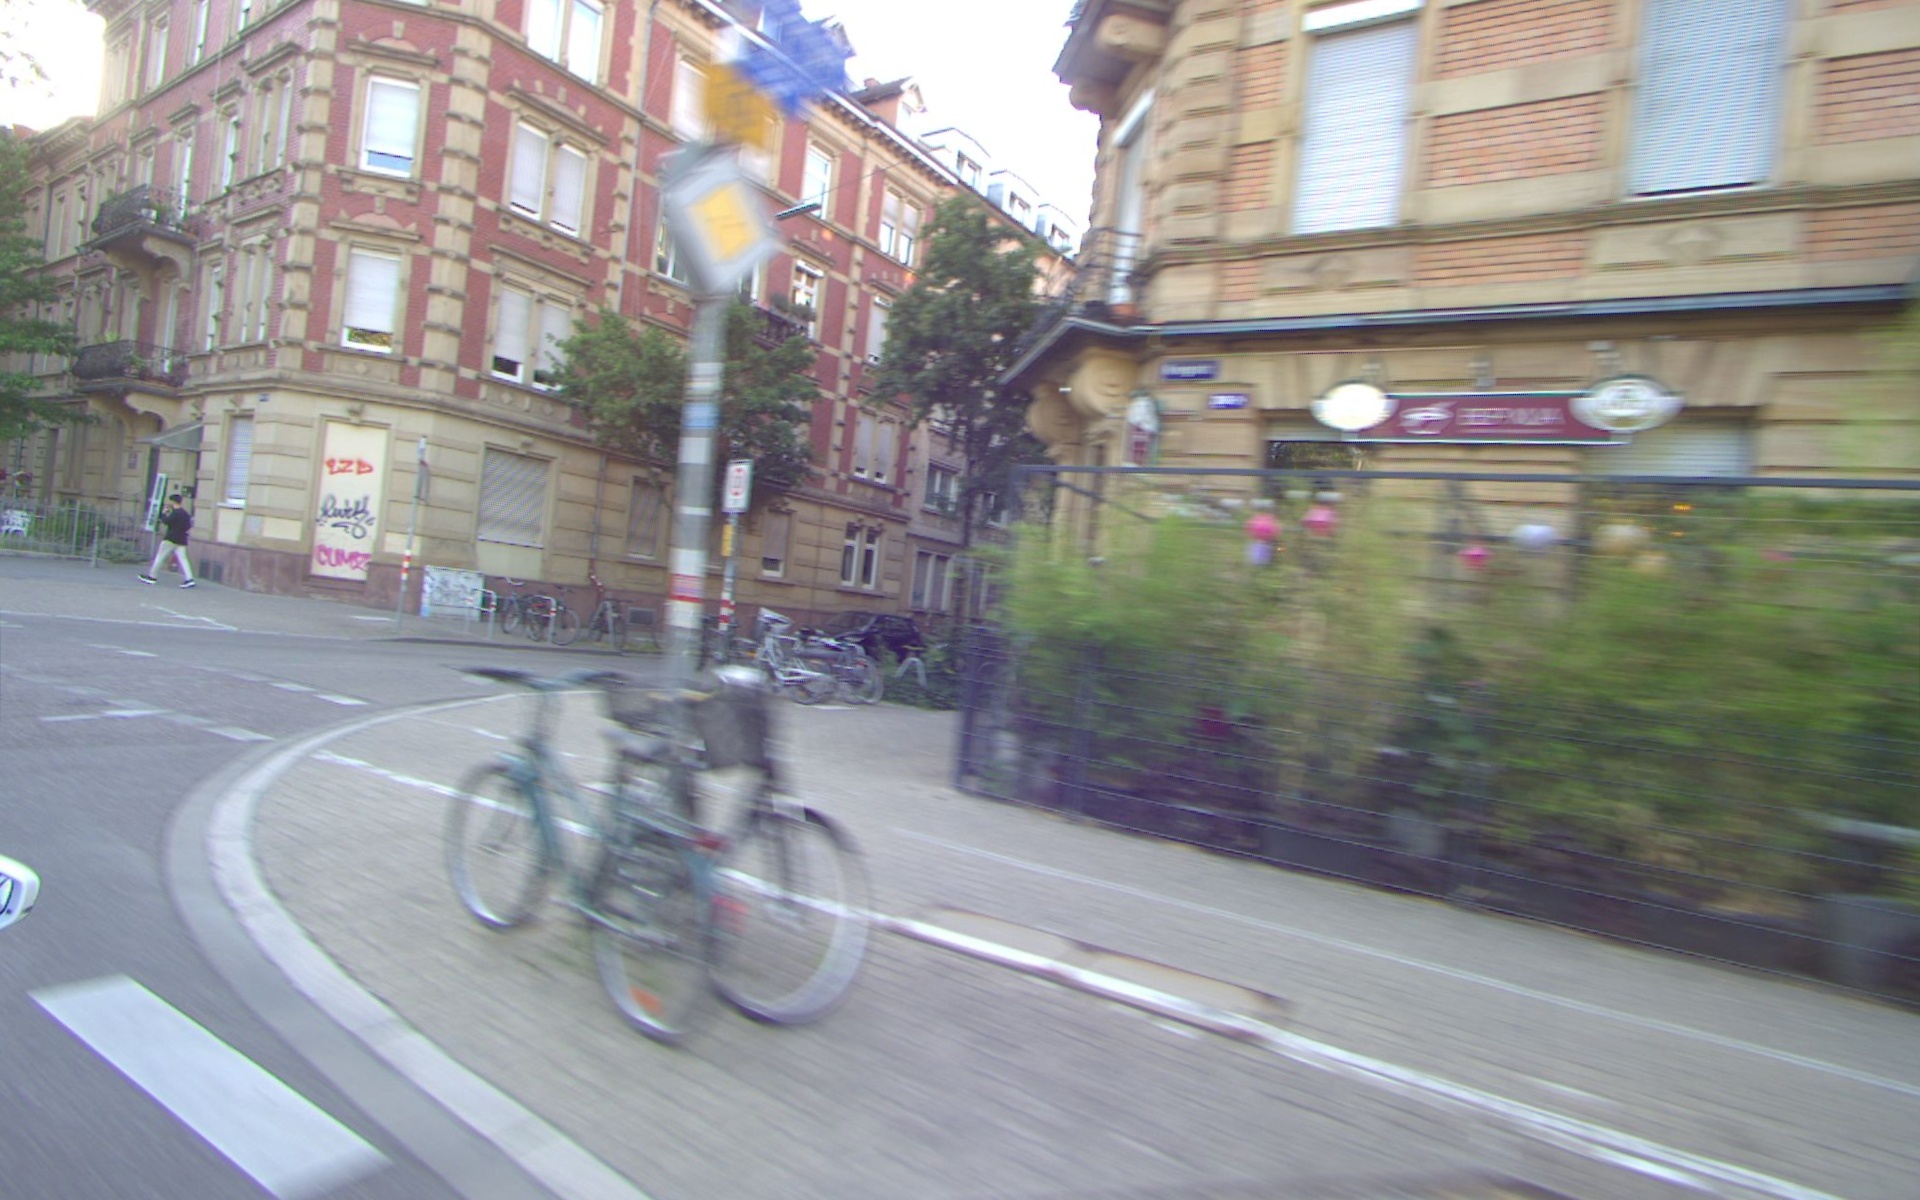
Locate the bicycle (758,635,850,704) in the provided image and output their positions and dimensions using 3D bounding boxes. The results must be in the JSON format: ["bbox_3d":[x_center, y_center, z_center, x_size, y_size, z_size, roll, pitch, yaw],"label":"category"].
[{"bbox_3d":[-2.189,0.956,14.014,1.477,0.826,0.294,3,-3,40],"label":"bicycle"}]

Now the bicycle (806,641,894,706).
[{"bbox_3d":[-1.657,1.094,15.052,1.477,0.826,0.294,3,-3,40],"label":"bicycle"}]

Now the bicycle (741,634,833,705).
[{"bbox_3d":[-2.382,0.933,13.765,1.477,0.826,0.294,3,-3,40],"label":"bicycle"}]

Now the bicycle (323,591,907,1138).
[{"bbox_3d":[-1.296,0.704,3.468,2.227,1.317,0.565,5,3,31],"label":"bicycle"}]

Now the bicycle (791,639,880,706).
[{"bbox_3d":[-1.842,1.054,14.790,1.477,0.826,0.294,3,-3,40],"label":"bicycle"}]

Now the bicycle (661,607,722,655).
[{"bbox_3d":[-6.154,0.707,23.039,1.472,0.826,0.295,10,0,32],"label":"bicycle"}]

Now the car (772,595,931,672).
[{"bbox_3d":[-2.825,0.945,26.962,1.968,1.526,3.989,11,1,35],"label":"car"}]

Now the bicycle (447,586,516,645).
[{"bbox_3d":[-8.826,0.280,18.530,1.472,0.826,0.292,10,0,32],"label":"bicycle"}]

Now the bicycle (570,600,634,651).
[{"bbox_3d":[-7.480,0.526,21.009,1.472,0.826,0.295,10,0,32],"label":"bicycle"}]

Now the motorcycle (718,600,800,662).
[{"bbox_3d":[-4.904,0.740,24.456,0.880,1.135,2.183,10,0,-40],"label":"motorcycle"}]

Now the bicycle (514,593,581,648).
[{"bbox_3d":[-8.042,0.394,19.588,1.472,0.826,0.295,10,0,32],"label":"bicycle"}]

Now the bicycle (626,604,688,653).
[{"bbox_3d":[-6.697,0.624,22.200,1.472,0.826,0.295,10,0,32],"label":"bicycle"}]

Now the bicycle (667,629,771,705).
[{"bbox_3d":[-3.164,0.858,13.126,1.711,0.826,0.294,3,-3,40],"label":"bicycle"}]

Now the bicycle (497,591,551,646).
[{"bbox_3d":[-8.334,0.342,19.209,1.477,0.826,0.294,10,0,44],"label":"bicycle"}]

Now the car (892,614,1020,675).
[{"bbox_3d":[-0.046,1.413,30.886,1.884,1.474,3.989,6,-1,35],"label":"car"}]

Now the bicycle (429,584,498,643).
[{"bbox_3d":[-8.993,0.242,18.206,1.472,0.826,0.292,10,0,32],"label":"bicycle"}]

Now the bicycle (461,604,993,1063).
[{"bbox_3d":[-1.015,0.742,3.964,2.227,1.292,0.565,5,3,31],"label":"bicycle"}]

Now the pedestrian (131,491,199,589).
[{"bbox_3d":[-15.499,-1.164,19.615,0.818,1.803,0.745,7,3,32],"label":"pedestrian"}]

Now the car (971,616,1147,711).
[{"bbox_3d":[2.189,1.387,21.192,1.820,1.626,3.989,7,-1,35],"label":"car"}]
